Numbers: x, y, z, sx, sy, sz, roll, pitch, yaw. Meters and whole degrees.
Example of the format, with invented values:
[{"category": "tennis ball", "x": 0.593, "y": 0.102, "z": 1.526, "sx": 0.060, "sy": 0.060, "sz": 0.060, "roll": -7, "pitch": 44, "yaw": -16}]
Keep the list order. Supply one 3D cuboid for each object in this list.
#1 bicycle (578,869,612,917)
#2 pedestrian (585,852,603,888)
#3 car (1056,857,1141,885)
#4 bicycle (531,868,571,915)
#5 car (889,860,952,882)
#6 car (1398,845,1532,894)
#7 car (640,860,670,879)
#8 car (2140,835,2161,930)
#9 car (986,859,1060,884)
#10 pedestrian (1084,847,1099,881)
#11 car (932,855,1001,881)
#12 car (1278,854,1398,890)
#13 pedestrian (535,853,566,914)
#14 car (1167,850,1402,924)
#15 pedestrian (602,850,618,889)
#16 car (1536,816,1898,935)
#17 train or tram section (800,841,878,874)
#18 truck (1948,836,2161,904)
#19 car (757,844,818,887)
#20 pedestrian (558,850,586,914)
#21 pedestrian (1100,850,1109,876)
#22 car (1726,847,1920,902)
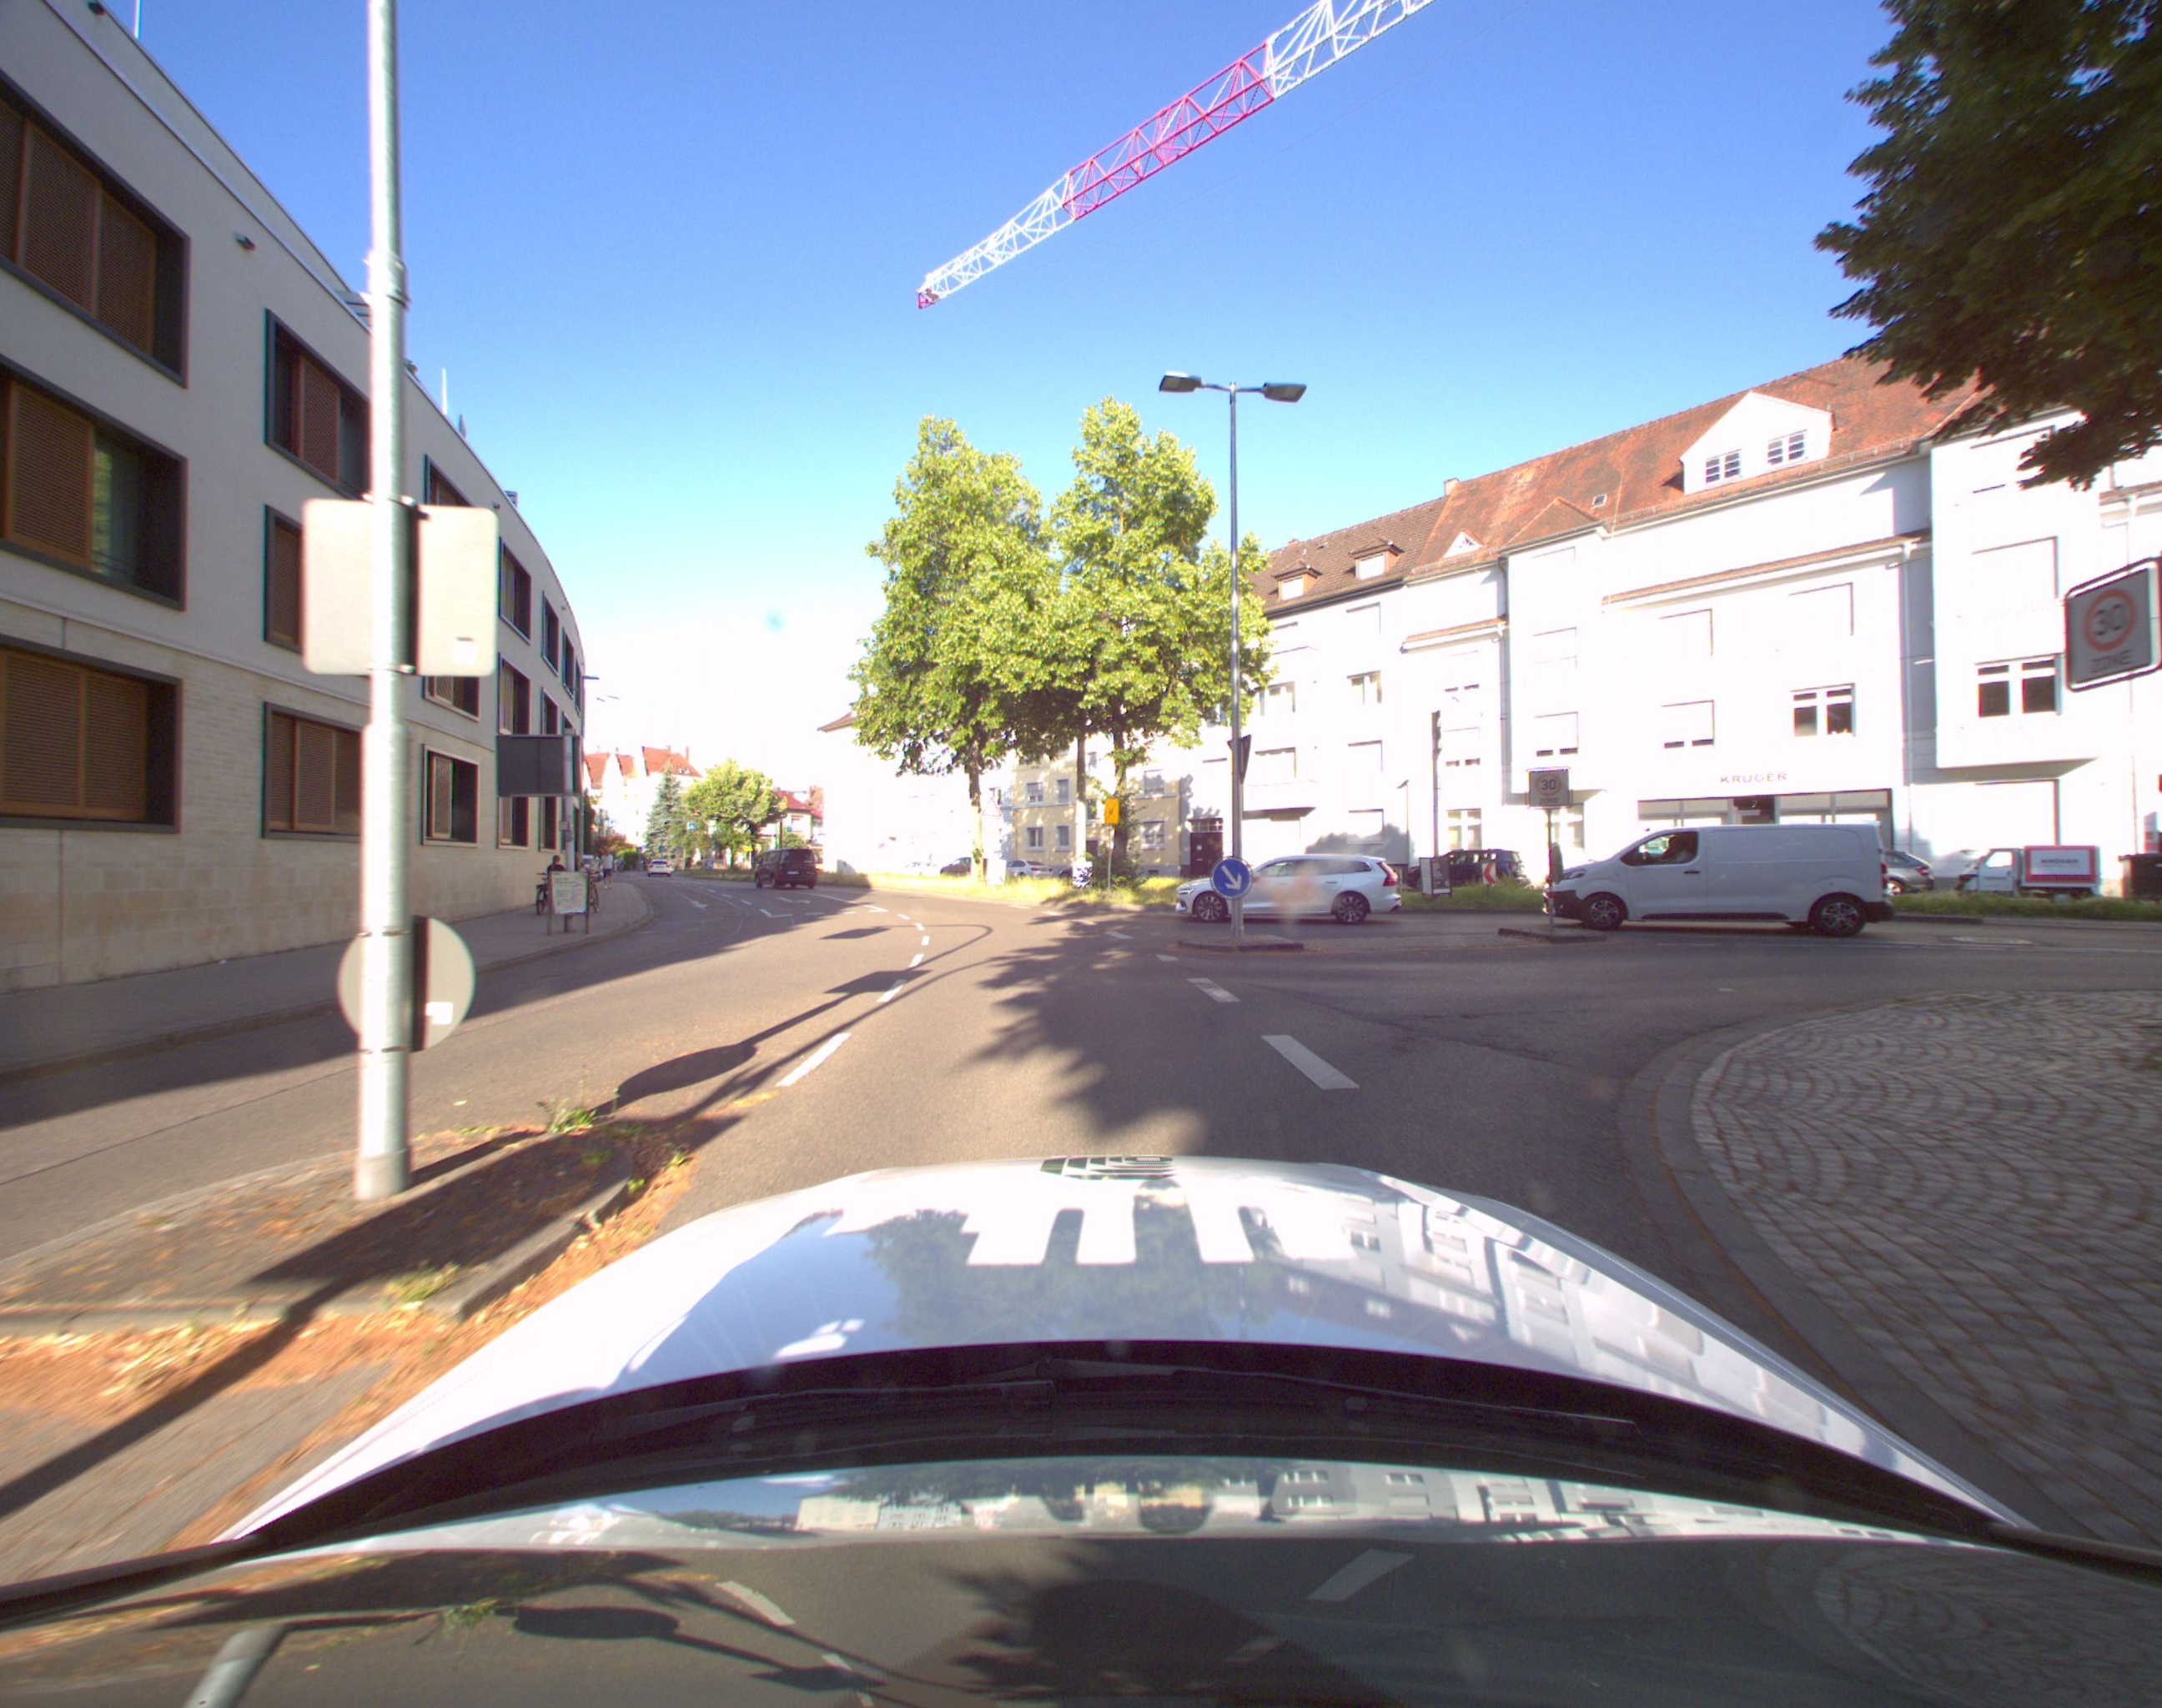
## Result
[{"category": "bicycle", "x": -13.008, "y": 1.013, "z": 21.827, "sx": 0.442, "sy": 1.178, "sz": 1.953, "roll": 1, "pitch": 0, "yaw": -21}, {"category": "pedestrian", "x": -23.470, "y": 0.780, "z": 39.239, "sx": 0.707, "sy": 1.714, "sz": 0.834, "roll": 1, "pitch": -2, "yaw": -32}, {"category": "car", "x": 0.926, "y": 0.888, "z": 43.936, "sx": 4.391, "sy": 1.386, "sz": 2.012, "roll": 0, "pitch": 0, "yaw": 44}, {"category": "bicycle", "x": -13.937, "y": 0.969, "z": 21.444, "sx": 0.377, "sy": 1.167, "sz": 1.826, "roll": 2, "pitch": -1, "yaw": -18}, {"category": "car", "x": -11.153, "y": 1.147, "z": 56.498, "sx": 4.389, "sy": 1.386, "sz": 2.012, "roll": 0, "pitch": 0, "yaw": 41}, {"category": "car", "x": 14.415, "y": 0.534, "z": 30.725, "sx": 4.157, "sy": 1.749, "sz": 2.012, "roll": 0, "pitch": 0, "yaw": 44}, {"category": "car", "x": -36.805, "y": 1.310, "z": 70.393, "sx": 1.967, "sy": 1.505, "sz": 3.657, "roll": -1, "pitch": 0, "yaw": -23}, {"category": "car", "x": 17.945, "y": 0.428, "z": 11.078, "sx": 4.020, "sy": 1.444, "sz": 2.012, "roll": 0, "pitch": 0, "yaw": 42}, {"category": "car", "x": -3.529, "y": 0.990, "z": 48.809, "sx": 4.391, "sy": 1.386, "sz": 2.012, "roll": 0, "pitch": 0, "yaw": 44}, {"category": "pedestrian", "x": 0.630, "y": 0.607, "z": 49.135, "sx": 0.641, "sy": 2.014, "sz": 0.617, "roll": -1, "pitch": -1, "yaw": 44}, {"category": "car", "x": -7.485, "y": 0.904, "z": 52.820, "sx": 4.583, "sy": 1.572, "sz": 2.012, "roll": -2, "pitch": -1, "yaw": 44}, {"category": "car", "x": 10.744, "y": 0.691, "z": 34.254, "sx": 4.391, "sy": 1.386, "sz": 2.012, "roll": 0, "pitch": 0, "yaw": 44}, {"category": "pedestrian", "x": -14.043, "y": 0.772, "z": 21.566, "sx": 0.475, "sy": 1.565, "sz": 0.598, "roll": 3, "pitch": -1, "yaw": -20}, {"category": "car", "x": 4.399, "y": 0.658, "z": 17.759, "sx": 4.720, "sy": 1.463, "sz": 1.863, "roll": 0, "pitch": 0, "yaw": 16}, {"category": "pedestrian", "x": -22.890, "y": 0.743, "z": 39.609, "sx": 0.609, "sy": 1.849, "sz": 0.982, "roll": 1, "pitch": -2, "yaw": -32}, {"category": "car", "x": 11.056, "y": 0.331, "z": 14.713, "sx": 4.841, "sy": 1.854, "sz": 2.012, "roll": 0, "pitch": 0, "yaw": 25}, {"category": "train or tram section", "x": -27.493, "y": 0.435, "z": 93.090, "sx": 2.750, "sy": 3.555, "sz": 9.975, "roll": -1, "pitch": -1, "yaw": 24}, {"category": "truck", "x": 24.981, "y": 0.370, "z": 20.636, "sx": 4.046, "sy": 1.585, "sz": 2.012, "roll": 0, "pitch": 0, "yaw": 44}, {"category": "car", "x": -14.618, "y": 0.572, "z": 40.448, "sx": 2.007, "sy": 2.014, "sz": 3.959, "roll": 1, "pitch": -1, "yaw": -32}, {"category": "pedestrian", "x": -13.425, "y": 0.731, "z": 21.502, "sx": 0.475, "sy": 1.647, "sz": 0.598, "roll": -1, "pitch": 0, "yaw": -20}, {"category": "pedestrian", "x": 1.372, "y": 0.538, "z": 47.715, "sx": 0.437, "sy": 1.515, "sz": 0.307, "roll": -1, "pitch": 0, "yaw": 37}, {"category": "car", "x": 21.467, "y": 0.537, "z": 23.705, "sx": 4.046, "sy": 1.452, "sz": 2.012, "roll": 0, "pitch": 0, "yaw": 44}]
